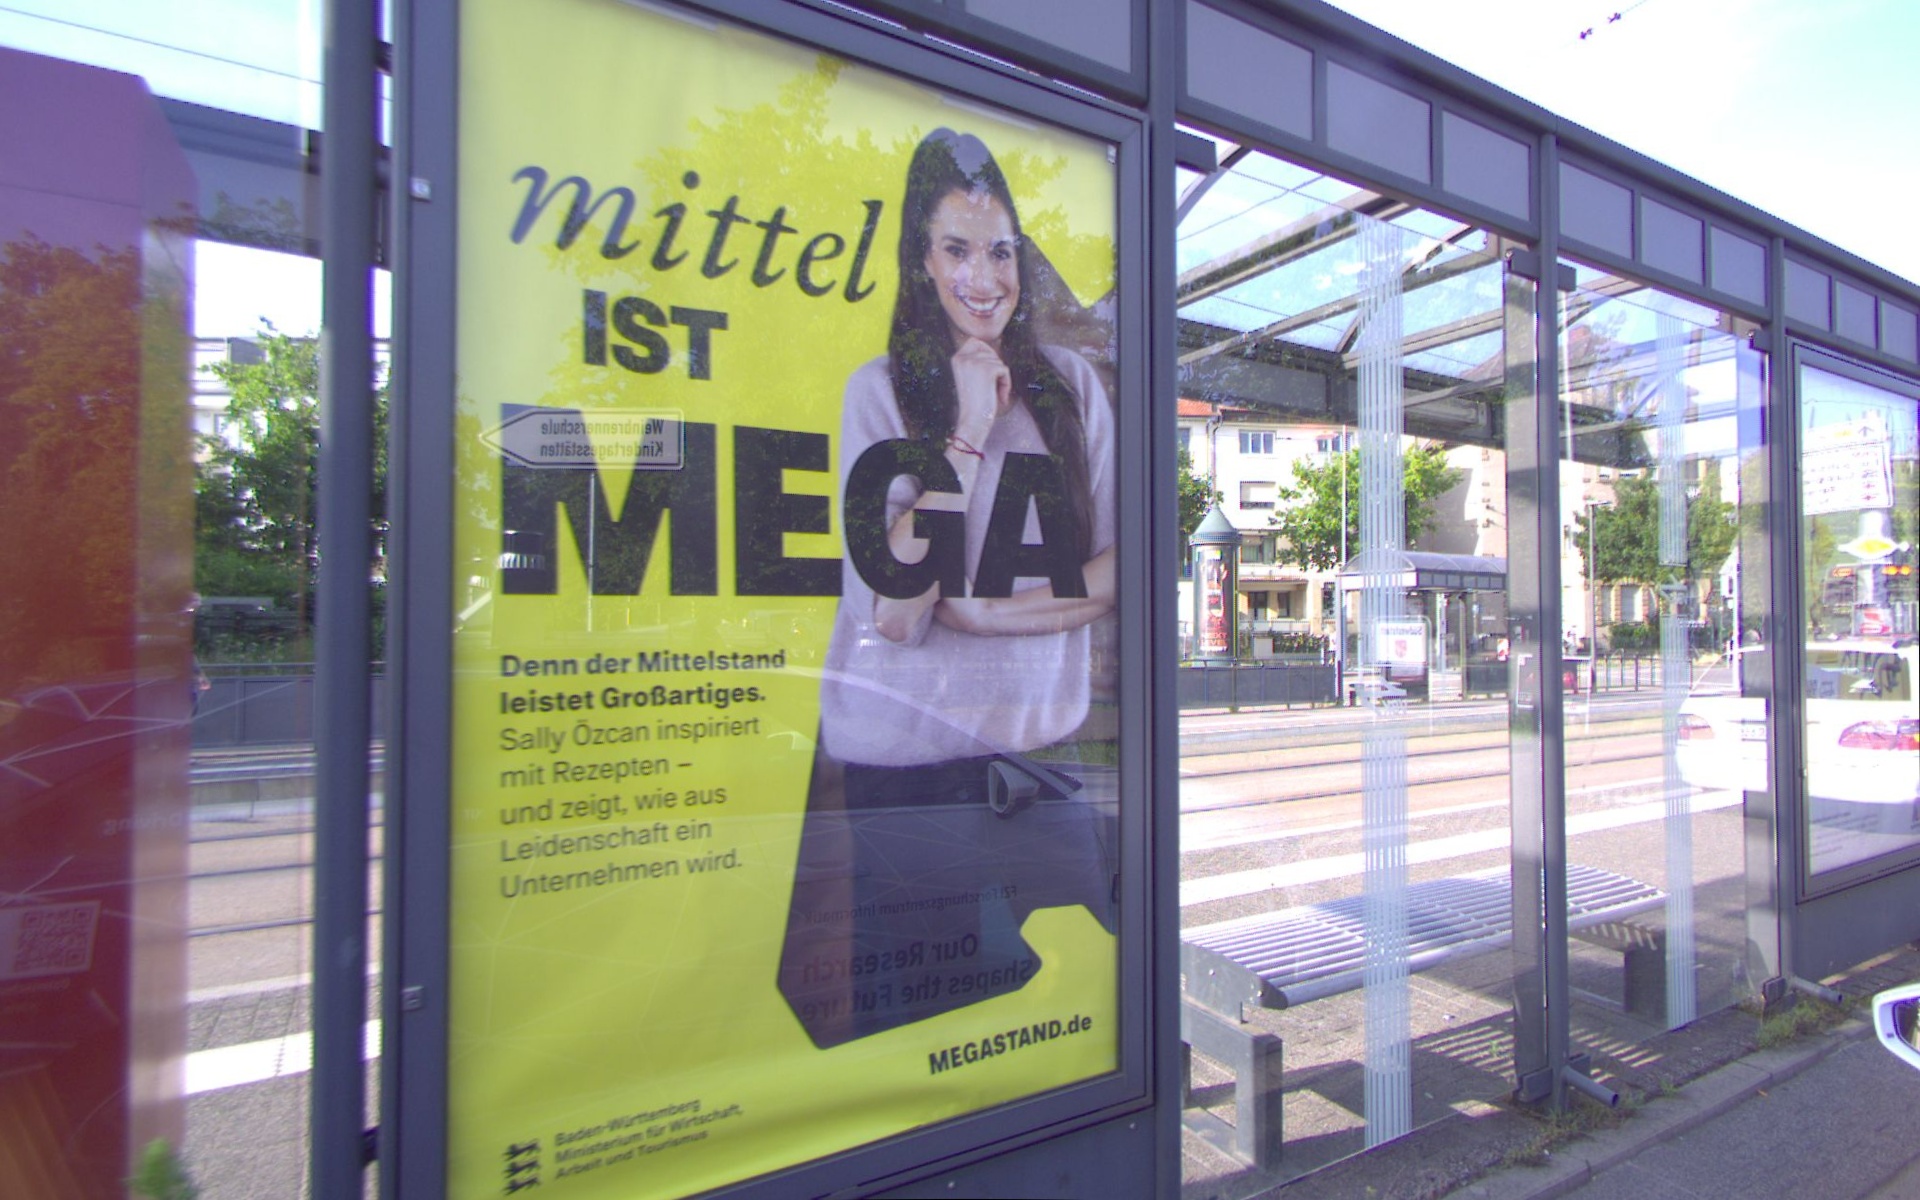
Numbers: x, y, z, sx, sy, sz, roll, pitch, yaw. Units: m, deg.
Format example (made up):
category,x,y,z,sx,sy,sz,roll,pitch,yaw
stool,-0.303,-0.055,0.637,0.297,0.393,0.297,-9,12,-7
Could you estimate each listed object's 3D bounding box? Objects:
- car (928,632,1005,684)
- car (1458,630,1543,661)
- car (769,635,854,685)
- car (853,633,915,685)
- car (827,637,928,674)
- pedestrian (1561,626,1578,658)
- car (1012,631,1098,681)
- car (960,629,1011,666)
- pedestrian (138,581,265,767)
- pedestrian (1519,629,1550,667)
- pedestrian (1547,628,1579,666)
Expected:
category,x,y,z,sx,sy,sz,roll,pitch,yaw
car,0.137,1.782,31.584,1.815,1.505,3.995,0,-2,-9
car,27.618,2.305,51.503,1.732,1.327,4.111,2,0,-8
car,-4.578,1.765,30.539,1.968,1.416,3.985,1,-2,-18
car,-2.337,1.805,31.555,1.813,1.505,3.999,0,-2,-3
car,-3.352,2.211,40.524,3.927,1.416,1.836,0,-2,-9
pedestrian,29.307,2.002,48.288,0.540,1.520,0.437,0,-2,-15
car,2.953,1.744,32.134,1.815,1.505,3.995,0,-2,-9
car,1.198,2.266,48.508,1.962,1.684,3.997,0,-2,-6
pedestrian,-7.261,0.704,9.656,0.867,1.706,0.551,1,-5,-30
pedestrian,23.996,1.989,41.963,0.768,1.572,0.831,0,-2,-8
pedestrian,24.711,1.921,41.179,0.768,1.572,0.831,0,-2,-8
